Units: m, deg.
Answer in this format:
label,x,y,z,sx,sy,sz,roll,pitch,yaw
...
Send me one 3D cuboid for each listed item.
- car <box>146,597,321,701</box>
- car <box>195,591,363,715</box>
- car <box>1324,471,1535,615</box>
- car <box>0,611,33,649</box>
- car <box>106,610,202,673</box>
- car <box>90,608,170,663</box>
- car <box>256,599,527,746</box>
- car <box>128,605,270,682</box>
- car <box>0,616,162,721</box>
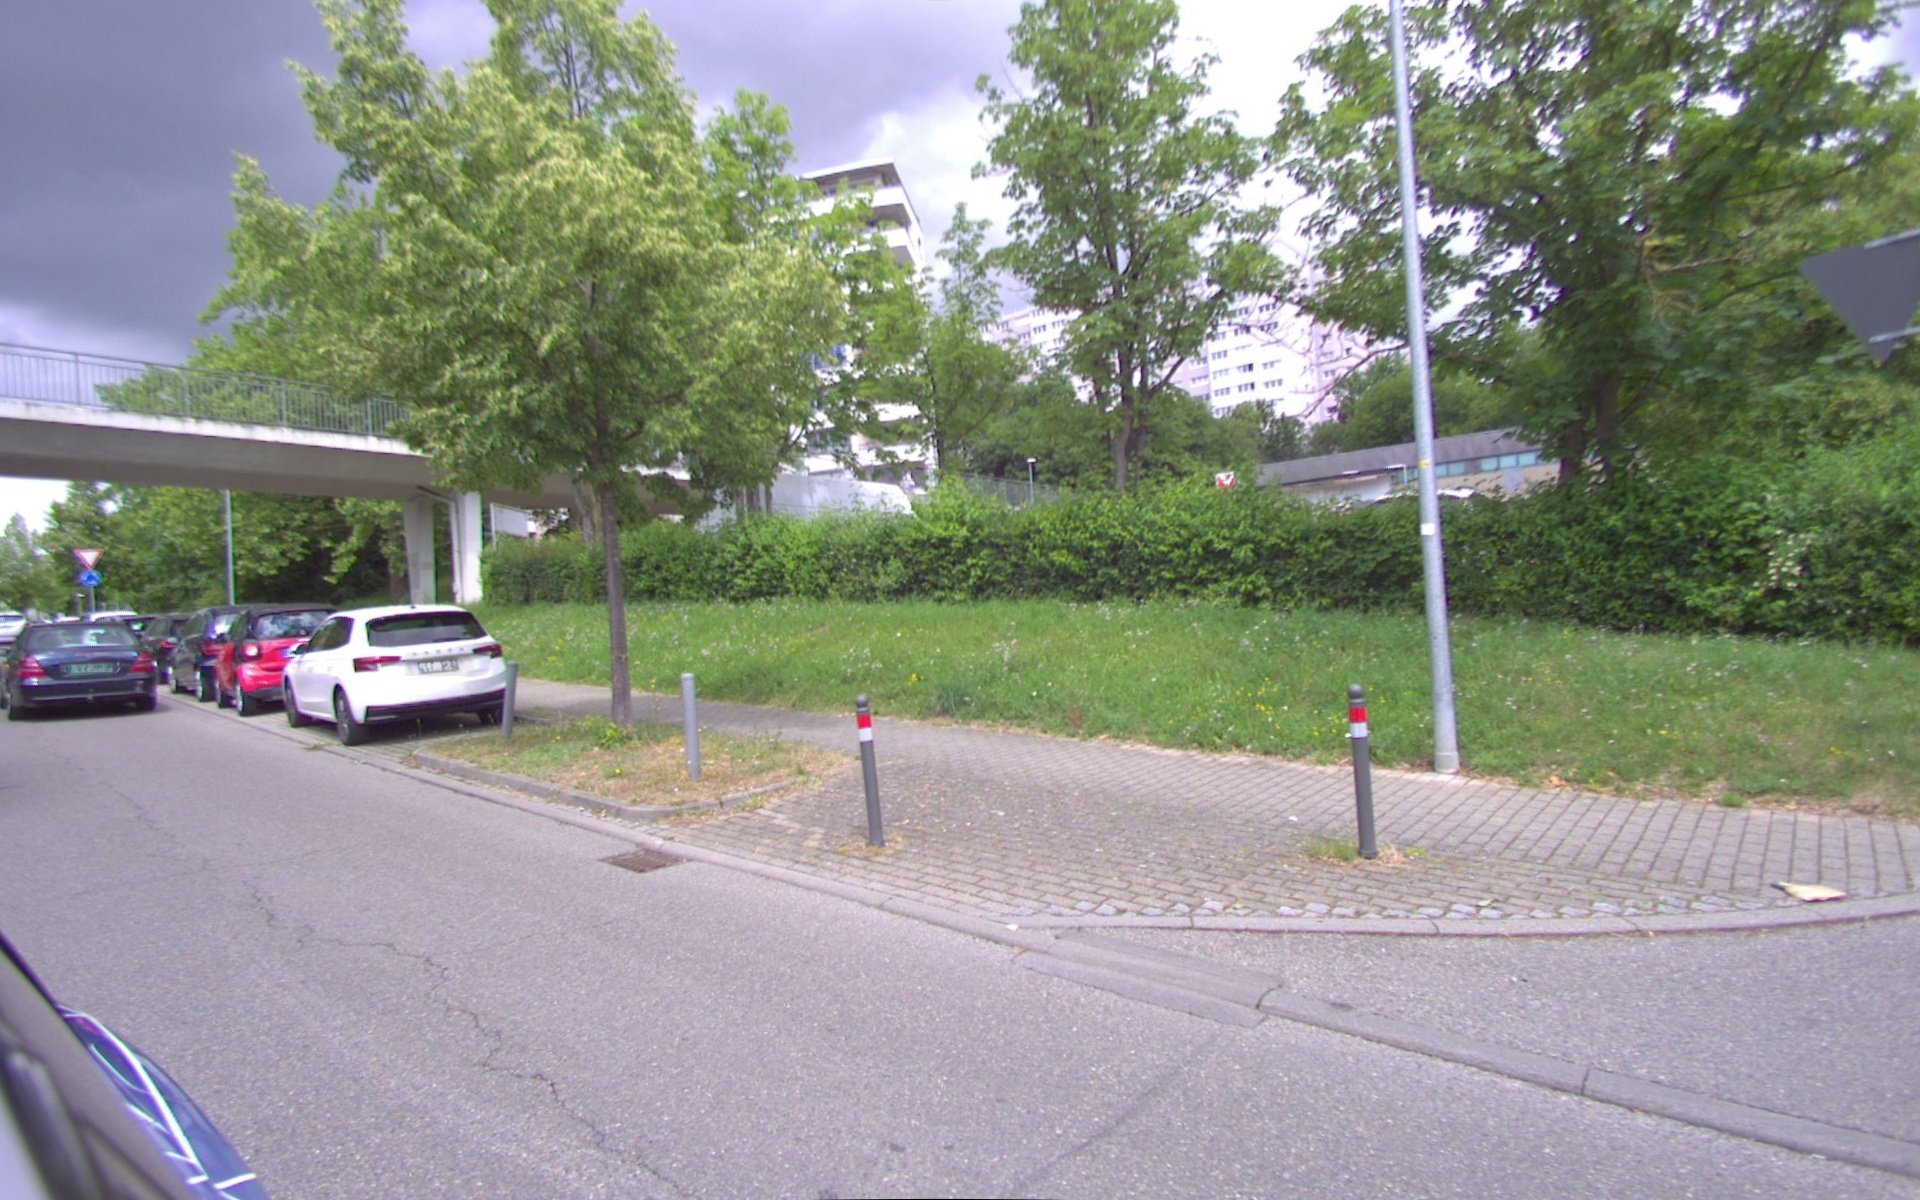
label,x,y,z,sx,sy,sz,roll,pitch,yaw
car,-13.310,0.826,18.463,3.986,1.596,1.789,-1,2,43
car,-10.465,0.745,15.508,1.576,1.596,2.687,-7,4,-44
car,7.425,-0.948,15.804,1.998,1.872,3.949,-1,6,40
car,-41.985,1.305,44.269,3.722,1.582,1.789,-1,0,43
car,-22.219,1.072,27.847,1.787,1.466,3.866,-5,3,-41
car,-26.170,1.073,31.869,1.786,1.582,3.727,-1,0,-41
car,-7.083,0.760,12.422,4.050,1.415,1.788,-1,2,44
car,-17.268,0.912,22.881,4.487,1.491,1.789,-1,2,43
car,-14.262,1.005,16.241,4.369,1.430,1.732,-2,-1,44
